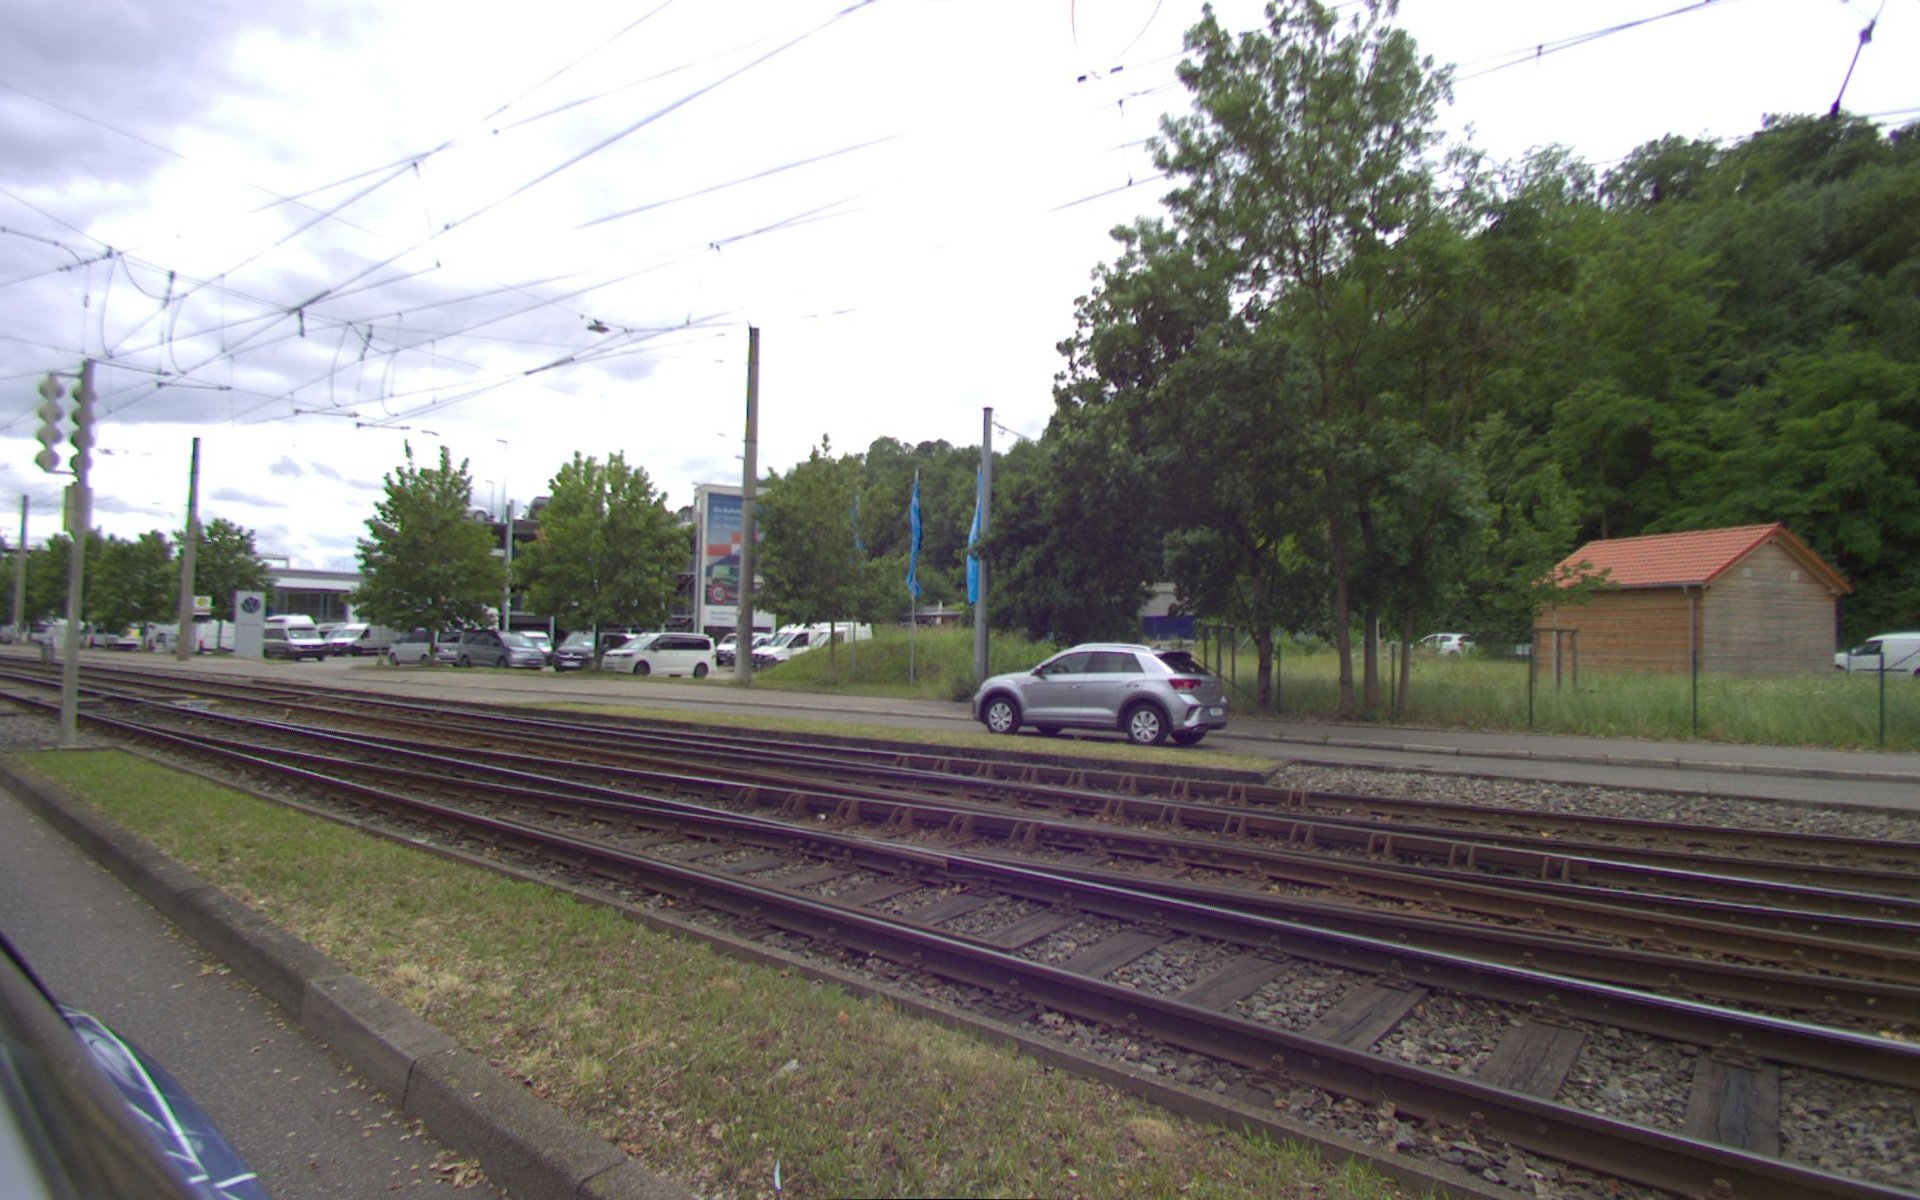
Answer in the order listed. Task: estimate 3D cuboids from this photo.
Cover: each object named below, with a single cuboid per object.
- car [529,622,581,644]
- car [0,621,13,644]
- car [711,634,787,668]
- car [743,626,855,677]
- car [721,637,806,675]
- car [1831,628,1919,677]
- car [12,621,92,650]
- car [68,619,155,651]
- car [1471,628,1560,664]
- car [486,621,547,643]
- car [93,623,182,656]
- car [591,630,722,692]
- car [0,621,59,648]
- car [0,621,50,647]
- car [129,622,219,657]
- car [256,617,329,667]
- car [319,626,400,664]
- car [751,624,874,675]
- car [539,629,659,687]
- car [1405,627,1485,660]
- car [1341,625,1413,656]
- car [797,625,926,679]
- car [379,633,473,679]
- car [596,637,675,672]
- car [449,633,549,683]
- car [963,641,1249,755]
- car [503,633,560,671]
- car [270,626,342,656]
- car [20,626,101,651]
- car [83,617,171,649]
[{"bbox_3d":[-36.884,2.962,92.222,4.164,1.850,1.986,-1,0,-29],"label":"car"},{"bbox_3d":[-94.073,3.182,96.866,2.102,2.225,4.589,-1,0,32],"label":"car"},{"bbox_3d":[-12.976,3.082,62.224,4.165,1.850,1.986,-1,0,-31],"label":"car"},{"bbox_3d":[-8.595,2.720,54.325,5.568,2.479,1.986,-1,0,-31],"label":"car"},{"bbox_3d":[-10.913,3.065,56.262,4.165,1.850,1.986,-1,0,-31],"label":"car"},{"bbox_3d":[34.187,1.872,36.534,1.877,1.625,3.693,-1,0,-22],"label":"car"},{"bbox_3d":[-75.560,2.943,84.273,2.102,2.225,4.589,-1,0,32],"label":"car"},{"bbox_3d":[-63.856,2.618,76.232,2.102,2.225,4.589,-1,0,32],"label":"car"},{"bbox_3d":[28.185,2.305,51.436,1.727,1.625,3.693,-1,0,-22],"label":"car"},{"bbox_3d":[-41.806,2.976,95.388,5.138,1.850,1.986,-1,0,-29],"label":"car"},{"bbox_3d":[-59.496,2.816,73.300,2.102,2.225,4.589,-1,0,32],"label":"car"},{"bbox_3d":[-12.839,2.525,43.109,1.997,2.284,5.206,-1,0,37],"label":"car"},{"bbox_3d":[-83.595,3.046,90.151,2.102,2.225,4.589,-1,0,32],"label":"car"},{"bbox_3d":[-85.618,3.073,91.526,2.102,2.225,4.589,-1,0,32],"label":"car"},{"bbox_3d":[-54.947,2.741,70.816,2.102,2.225,4.589,-1,0,32],"label":"car"},{"bbox_3d":[-43.175,2.659,65.420,6.154,3.034,2.291,-1,0,40],"label":"car"},{"bbox_3d":[-46.470,3.434,78.528,2.293,2.642,6.036,-1,0,6],"label":"car"},{"bbox_3d":[-7.403,2.452,51.047,5.751,2.284,2.060,-1,0,-28],"label":"car"},{"bbox_3d":[-15.992,2.524,45.056,1.977,2.284,4.717,-1,0,37],"label":"car"},{"bbox_3d":[26.490,2.326,55.391,1.727,1.625,3.693,-1,0,-25],"label":"car"},{"bbox_3d":[24.478,2.352,59.462,1.727,1.625,3.693,-1,0,-25],"label":"car"},{"bbox_3d":[-4.694,2.418,48.371,5.762,2.284,2.060,-1,0,-28],"label":"car"},{"bbox_3d":[-27.045,2.774,51.210,4.761,2.132,2.119,-1,0,32],"label":"car"},{"bbox_3d":[-19.422,3.210,60.623,4.165,1.850,1.986,-1,0,-31],"label":"car"},{"bbox_3d":[-21.784,2.702,47.794,4.763,2.132,2.118,-1,0,34],"label":"car"},{"bbox_3d":[2.307,1.482,16.390,4.169,1.590,1.976,-1,-3,36],"label":"car"},{"bbox_3d":[-24.510,2.931,57.819,1.872,1.907,4.606,-1,0,-38],"label":"car"},{"bbox_3d":[-53.656,3.318,83.131,2.107,2.225,4.579,-1,0,39],"label":"car"},{"bbox_3d":[-73.590,3.103,82.873,2.102,1.854,4.589,-1,0,32],"label":"car"},{"bbox_3d":[-61.478,2.390,74.748,2.102,2.225,4.589,-1,0,32],"label":"car"}]
